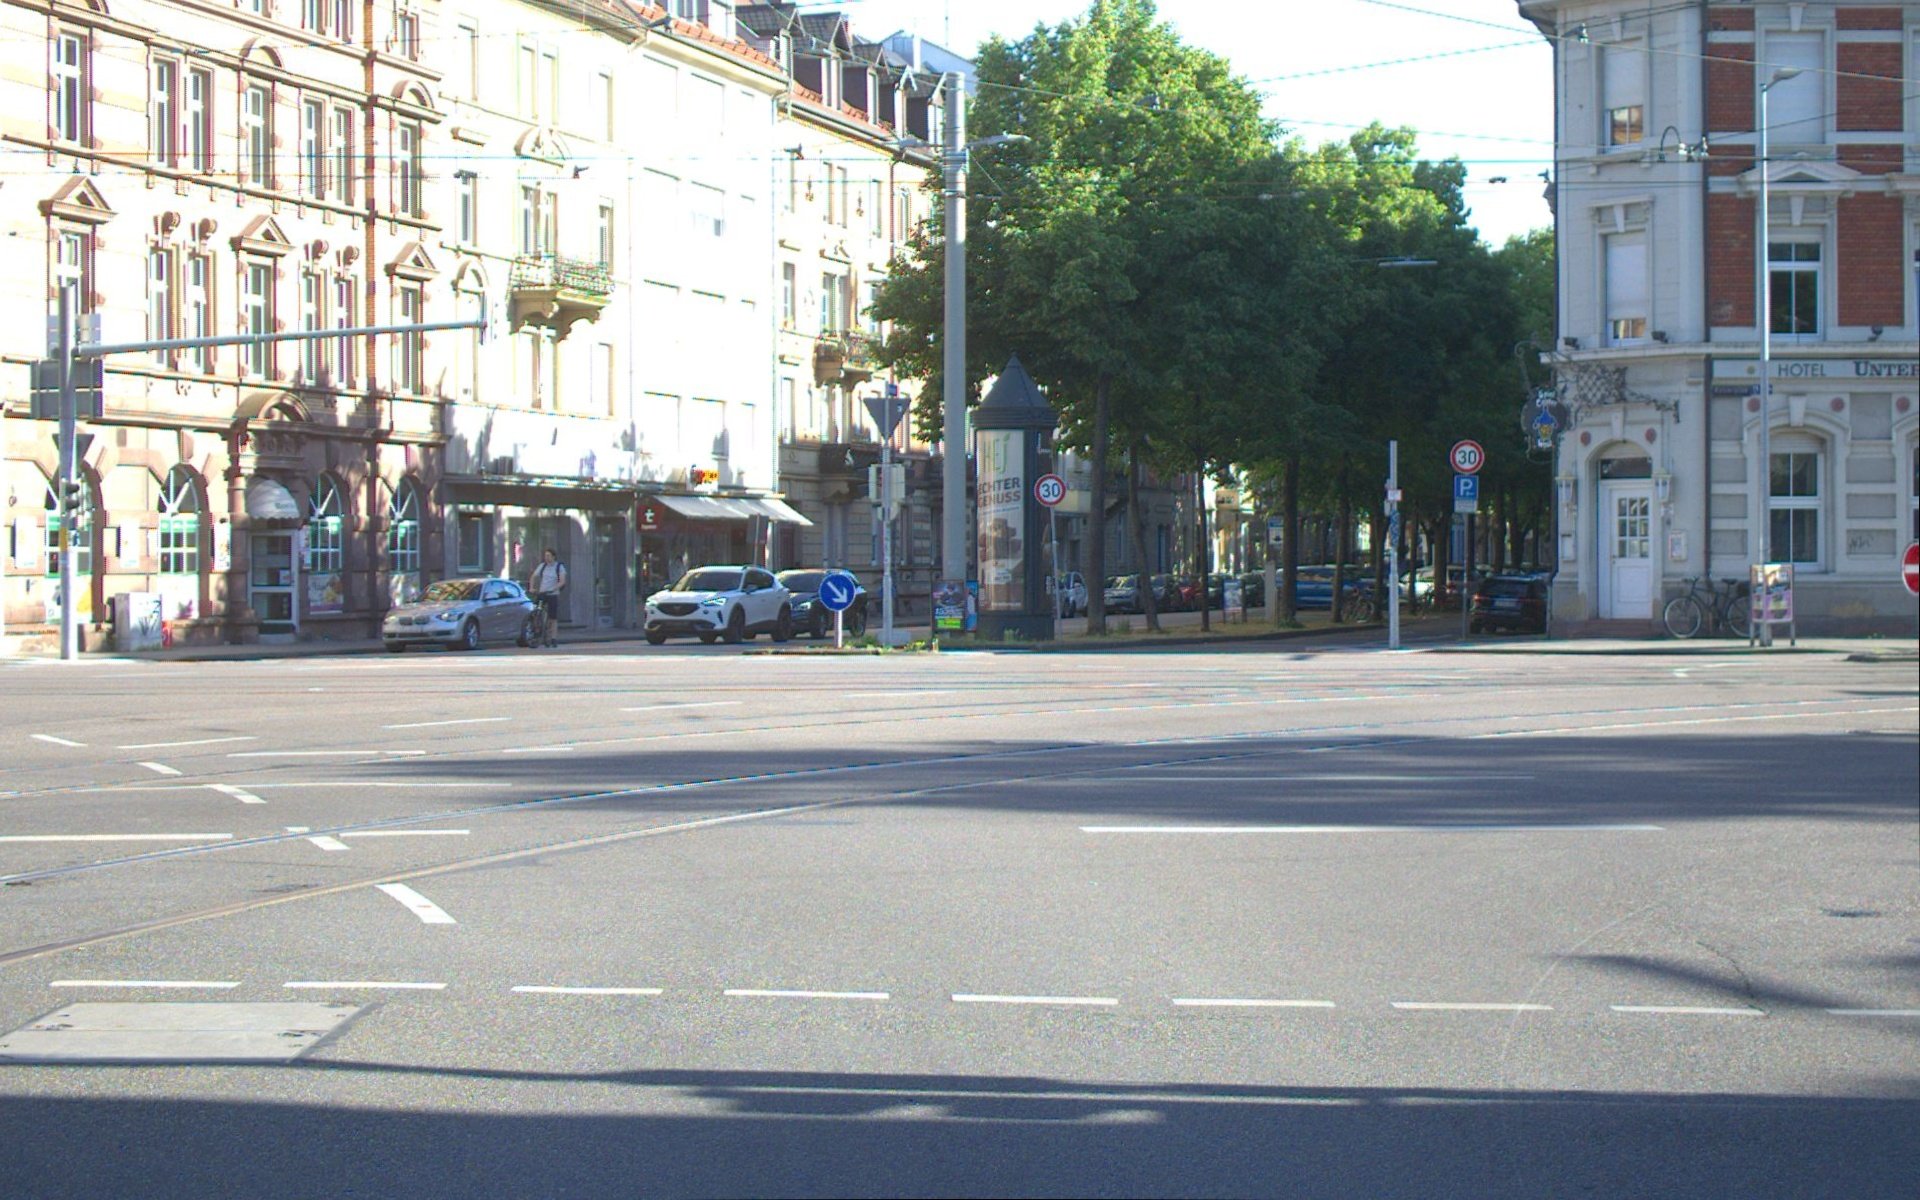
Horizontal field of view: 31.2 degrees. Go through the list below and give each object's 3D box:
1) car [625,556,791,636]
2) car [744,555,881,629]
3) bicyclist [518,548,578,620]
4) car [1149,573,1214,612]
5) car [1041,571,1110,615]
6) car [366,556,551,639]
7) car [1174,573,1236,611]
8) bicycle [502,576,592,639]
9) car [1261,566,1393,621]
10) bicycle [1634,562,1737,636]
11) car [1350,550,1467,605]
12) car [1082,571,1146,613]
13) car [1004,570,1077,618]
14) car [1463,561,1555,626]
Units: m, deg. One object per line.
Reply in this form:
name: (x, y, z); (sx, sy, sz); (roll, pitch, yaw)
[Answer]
car: (-4.878, -0.099, 67.169); (2.098, 1.494, 3.998); (0, 1, 14)
car: (-3.129, -0.185, 73.536); (1.994, 1.508, 3.998); (0, 1, 12)
bicyclist: (-7.853, -0.311, 65.595); (0.794, 1.370, 1.107); (0, 1, 14)
car: (8.509, -0.304, 131.611); (1.742, 1.393, 4.121); (3, 1, 13)
car: (3.921, -0.248, 115.809); (1.741, 1.393, 4.122); (3, 1, 9)
car: (-9.777, -0.068, 67.384); (2.098, 1.540, 4.361); (0, 1, 14)
car: (9.727, -0.338, 136.389); (1.742, 1.393, 4.121); (3, 1, 13)
bicycle: (-7.866, 0.131, 65.632); (0.751, 1.131, 2.808); (0, 1, 14)
car: (12.292, -0.216, 115.229); (4.113, 1.640, 1.745); (3, 1, 15)
bicycle: (12.062, -0.025, 57.138); (1.639, 1.218, 0.606); (0, 1, 16)
car: (17.410, -0.865, 133.428); (4.115, 1.912, 1.744); (3, 1, 21)
car: (5.508, -0.294, 122.787); (1.741, 1.393, 4.122); (3, 1, 9)
car: (2.597, -0.209, 110.005); (1.741, 1.393, 4.122); (3, 1, 9)
car: (13.168, -0.147, 82.289); (1.652, 1.519, 3.750); (0, 0, 17)
